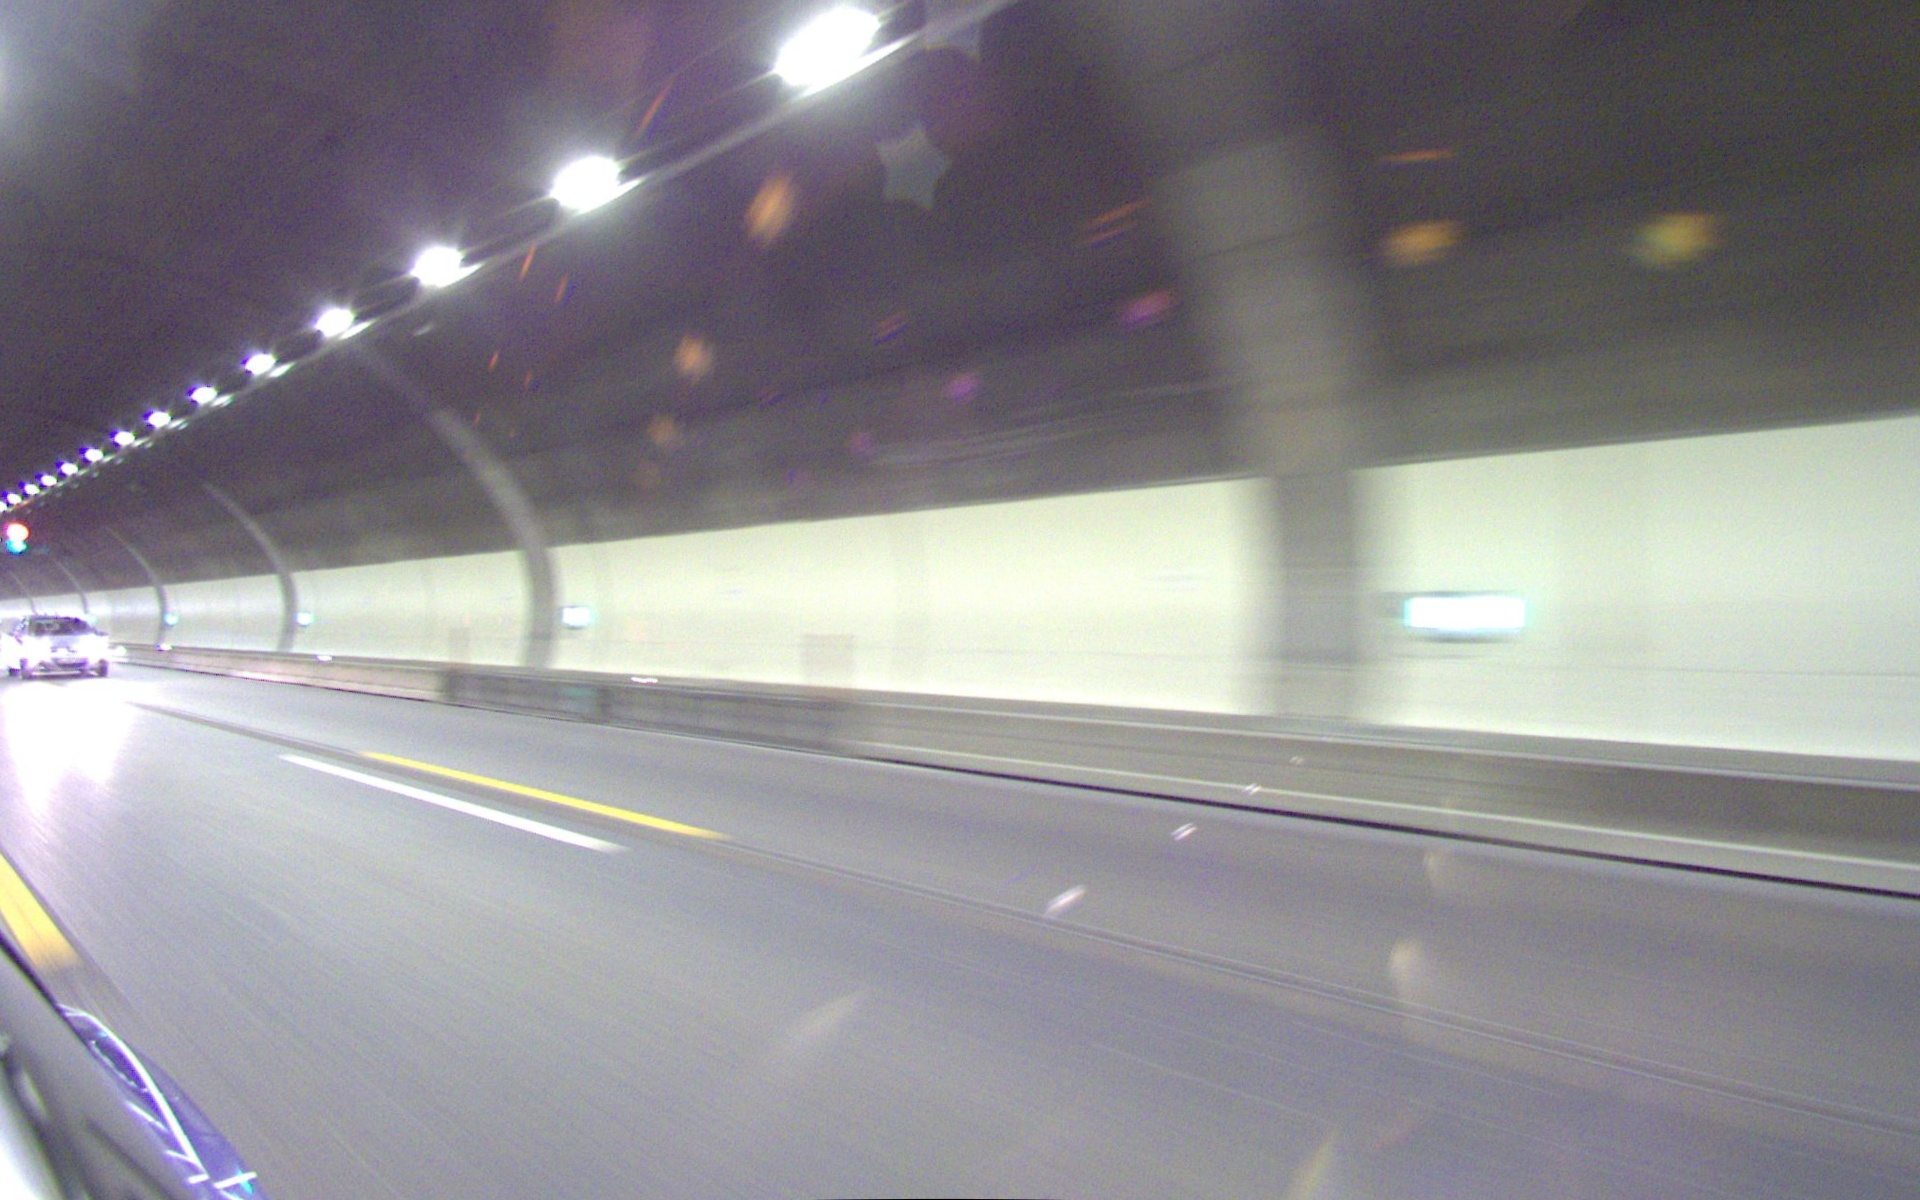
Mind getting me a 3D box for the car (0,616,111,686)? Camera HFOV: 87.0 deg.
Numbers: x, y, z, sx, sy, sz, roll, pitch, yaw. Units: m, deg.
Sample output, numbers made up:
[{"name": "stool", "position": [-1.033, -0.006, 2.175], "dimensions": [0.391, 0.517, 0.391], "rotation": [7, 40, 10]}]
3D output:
[{"name": "car", "position": [-22.931, 1.212, 25.461], "dimensions": [4.094, 1.584, 1.744], "rotation": [-1, 0, 40]}]
